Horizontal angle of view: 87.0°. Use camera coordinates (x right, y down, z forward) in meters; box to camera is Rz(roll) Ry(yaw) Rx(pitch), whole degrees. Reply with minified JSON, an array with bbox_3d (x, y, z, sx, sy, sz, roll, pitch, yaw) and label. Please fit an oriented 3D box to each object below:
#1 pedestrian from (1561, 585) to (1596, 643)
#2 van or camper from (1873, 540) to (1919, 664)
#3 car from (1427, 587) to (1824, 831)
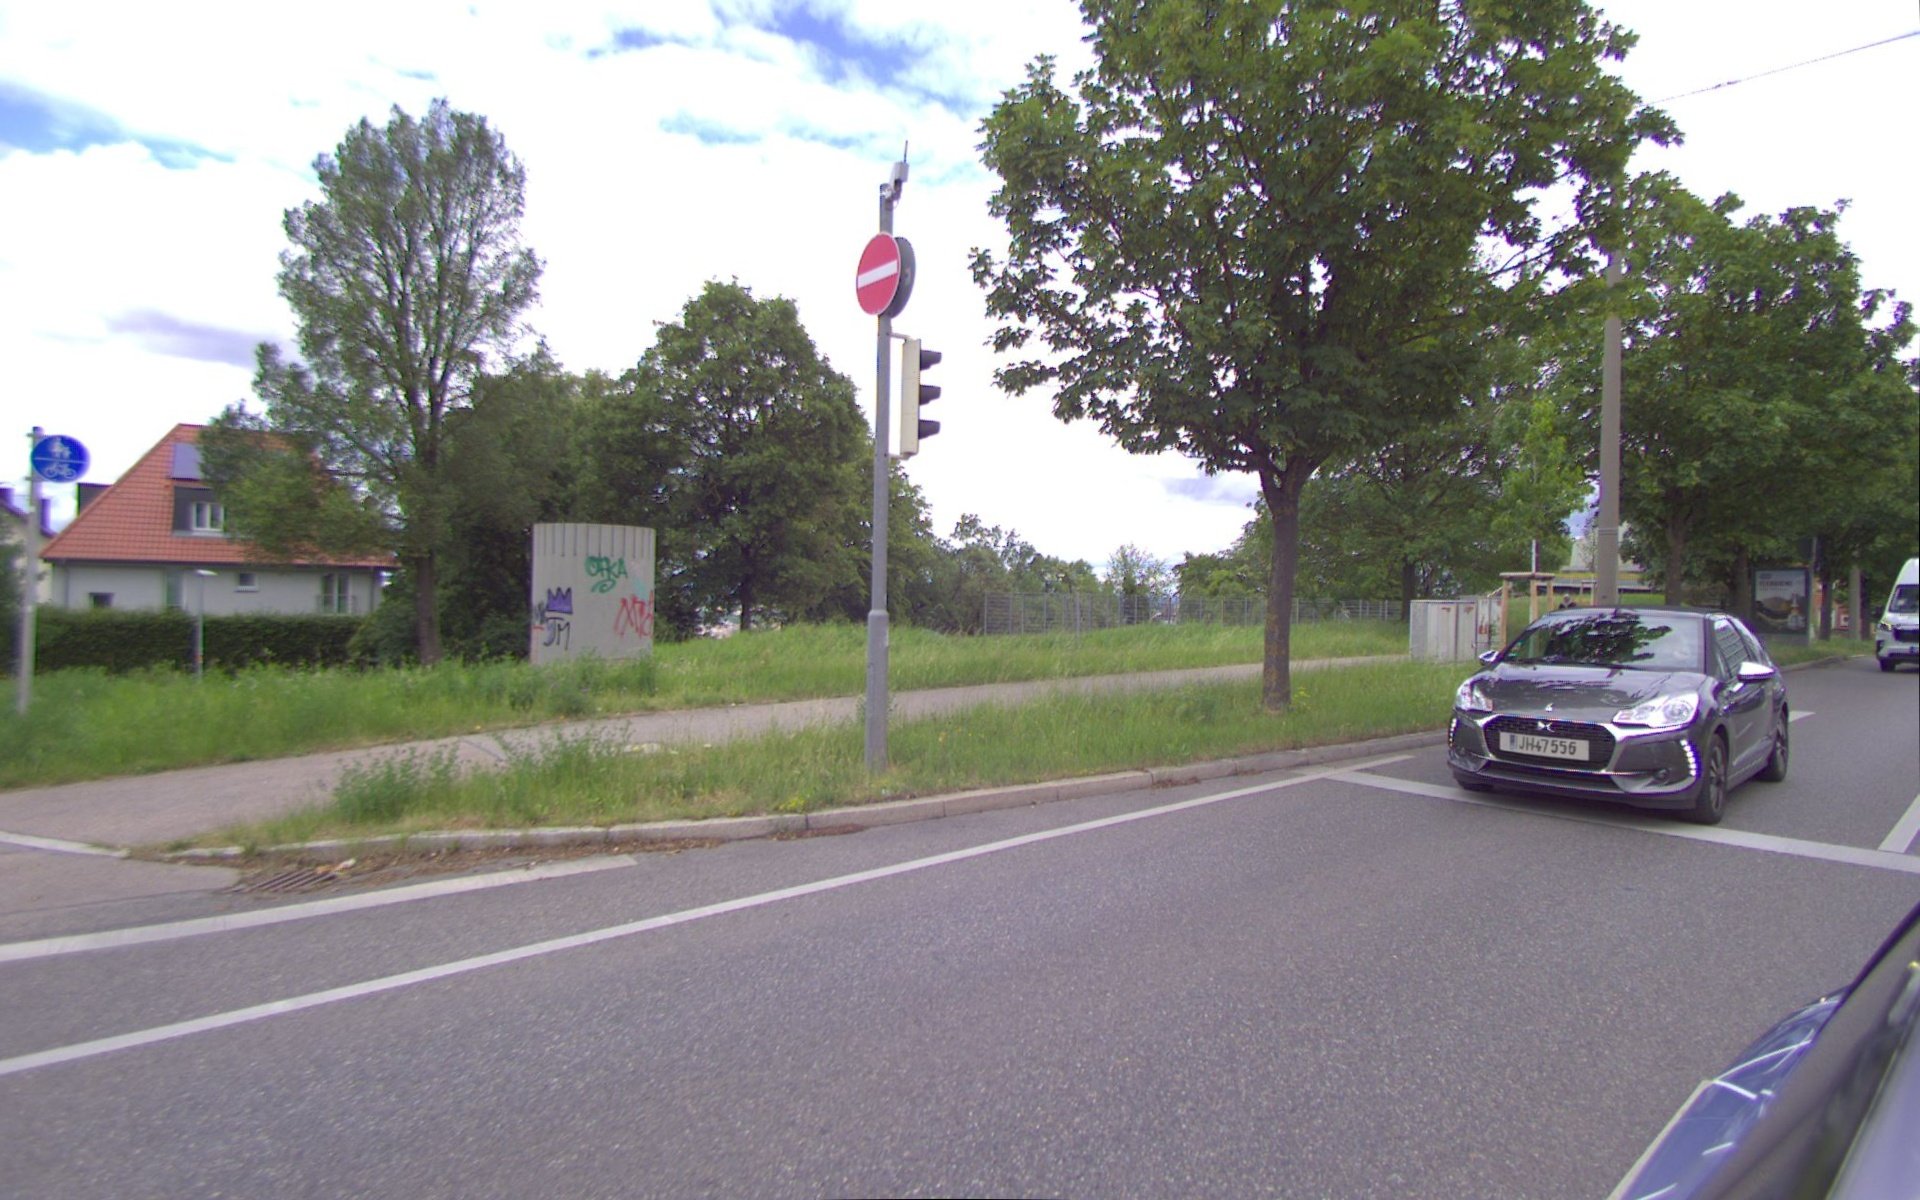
[{"bbox_3d":[18.000,0.396,29.455,0.690,1.623,0.542,2,4,-41],"label":"pedestrian"},{"bbox_3d":[23.877,0.082,23.848,6.178,2.724,2.112,1,-1,-34],"label":"van or camper"},{"bbox_3d":[5.481,0.687,8.131,3.991,1.479,1.703,1,-1,-42],"label":"car"}]
